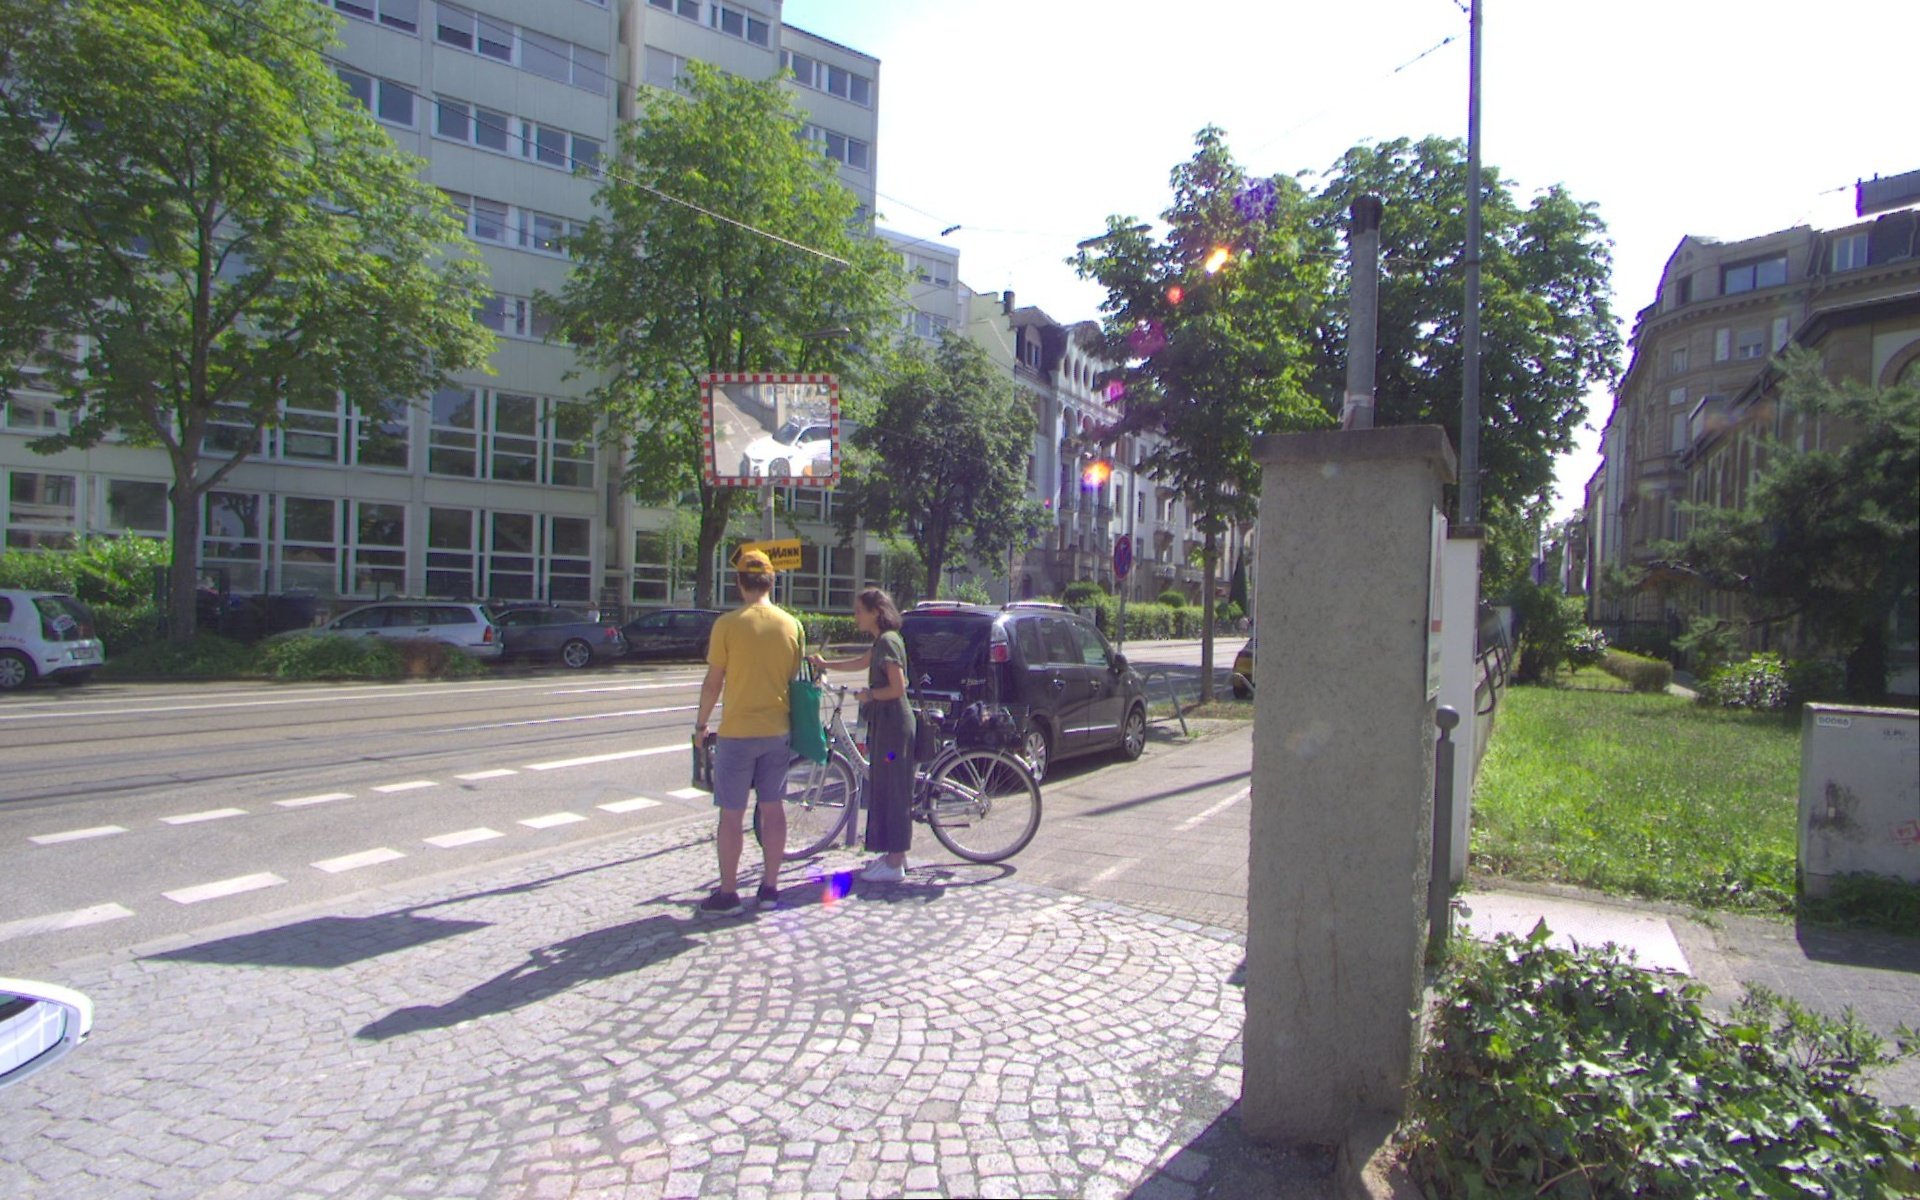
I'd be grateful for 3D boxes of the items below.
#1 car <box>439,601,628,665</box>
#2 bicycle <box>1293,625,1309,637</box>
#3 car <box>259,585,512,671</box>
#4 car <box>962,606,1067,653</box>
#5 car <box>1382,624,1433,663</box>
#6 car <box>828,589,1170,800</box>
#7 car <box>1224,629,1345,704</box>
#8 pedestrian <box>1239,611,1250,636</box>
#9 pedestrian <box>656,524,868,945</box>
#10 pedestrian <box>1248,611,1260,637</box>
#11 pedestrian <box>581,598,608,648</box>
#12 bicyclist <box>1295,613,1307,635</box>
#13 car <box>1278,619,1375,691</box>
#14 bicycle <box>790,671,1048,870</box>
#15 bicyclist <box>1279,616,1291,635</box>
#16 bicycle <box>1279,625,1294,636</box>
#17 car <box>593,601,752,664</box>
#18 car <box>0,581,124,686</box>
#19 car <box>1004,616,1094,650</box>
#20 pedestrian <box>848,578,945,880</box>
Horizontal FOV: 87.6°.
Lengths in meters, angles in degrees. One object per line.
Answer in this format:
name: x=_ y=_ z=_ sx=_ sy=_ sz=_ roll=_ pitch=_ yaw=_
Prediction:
car: x=-9.877 y=0.768 z=23.468 sx=3.875 sy=1.375 sz=1.556 roll=2 pitch=0 yaw=-16
bicycle: x=28.619 y=2.598 z=84.006 sx=0.670 sy=0.929 sz=2.309 roll=2 pitch=0 yaw=32
car: x=-11.722 y=0.605 z=20.744 sx=4.270 sy=1.625 sz=1.555 roll=2 pitch=-1 yaw=-19
car: x=2.300 y=1.242 z=42.539 sx=3.935 sy=1.884 sz=1.993 roll=2 pitch=0 yaw=-23
car: x=20.856 y=1.985 z=46.620 sx=1.828 sy=1.702 sz=3.984 roll=1 pitch=-1 yaw=28
car: x=0.614 y=0.819 z=10.385 sx=1.829 sy=1.706 sz=3.981 roll=1 pitch=-1 yaw=31
car: x=7.218 y=1.387 z=22.039 sx=1.828 sy=1.430 sz=3.984 roll=1 pitch=-1 yaw=28
pedestrian: x=22.205 y=1.840 z=78.121 sx=0.680 sy=1.959 sz=0.785 roll=2 pitch=0 yaw=28
pedestrian: x=-1.019 y=0.617 z=5.044 sx=0.841 sy=1.889 sz=0.826 roll=1 pitch=0 yaw=-25
pedestrian: x=22.825 y=1.845 z=77.763 sx=0.680 sy=1.959 sz=0.785 roll=2 pitch=0 yaw=28
pedestrian: x=-10.932 y=0.692 z=29.933 sx=0.417 sy=1.480 sz=0.620 roll=2 pitch=0 yaw=27
bicyclist: x=28.592 y=2.031 z=83.965 sx=0.793 sy=1.825 sz=0.860 roll=2 pitch=0 yaw=33
car: x=9.729 y=1.390 z=26.416 sx=1.828 sy=1.702 sz=3.984 roll=1 pitch=-1 yaw=28
bicycle: x=-0.246 y=0.997 z=6.059 sx=1.484 sy=1.055 sz=0.363 roll=2 pitch=0 yaw=12
bicyclist: x=27.540 y=2.153 z=84.860 sx=0.793 sy=1.563 sz=0.860 roll=2 pitch=0 yaw=33
bicycle: x=27.688 y=2.587 z=84.952 sx=0.670 sy=0.929 sz=2.309 roll=2 pitch=0 yaw=32
car: x=-7.547 y=0.859 z=26.449 sx=3.875 sy=1.505 sz=1.556 roll=2 pitch=0 yaw=-16
car: x=-15.147 y=0.465 z=14.851 sx=3.874 sy=1.505 sz=1.610 roll=1 pitch=0 yaw=-15
car: x=4.339 y=1.605 z=49.199 sx=3.929 sy=1.528 sz=1.997 roll=2 pitch=0 yaw=-16
pedestrian: x=-0.353 y=0.713 z=5.723 sx=0.445 sy=1.642 sz=0.422 roll=-1 pitch=-1 yaw=12
